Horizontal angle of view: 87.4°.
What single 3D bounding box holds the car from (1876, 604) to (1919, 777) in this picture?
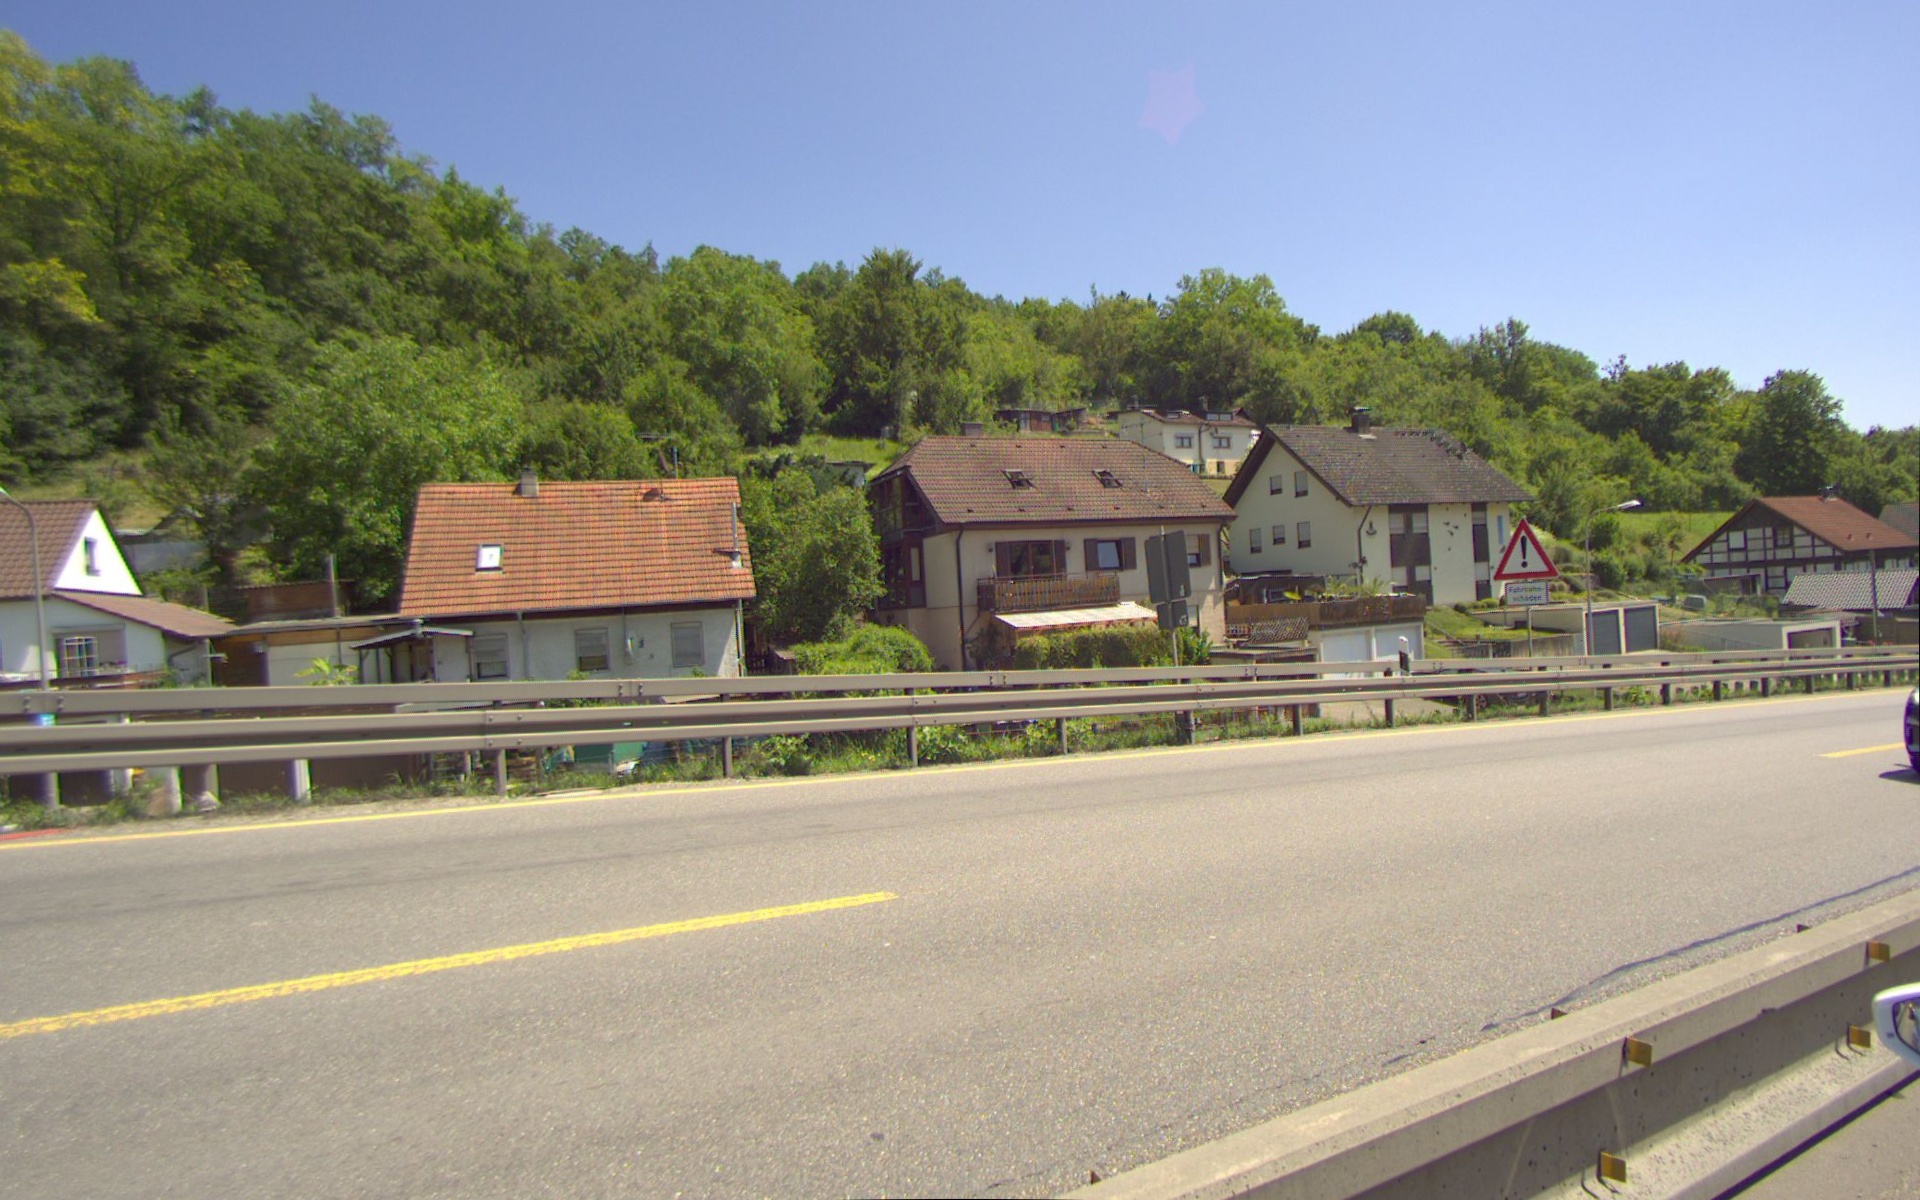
[{"bbox_3d":[11.049,0.925,9.894,4.110,1.607,1.810,2,1,-30],"label":"car"}]
